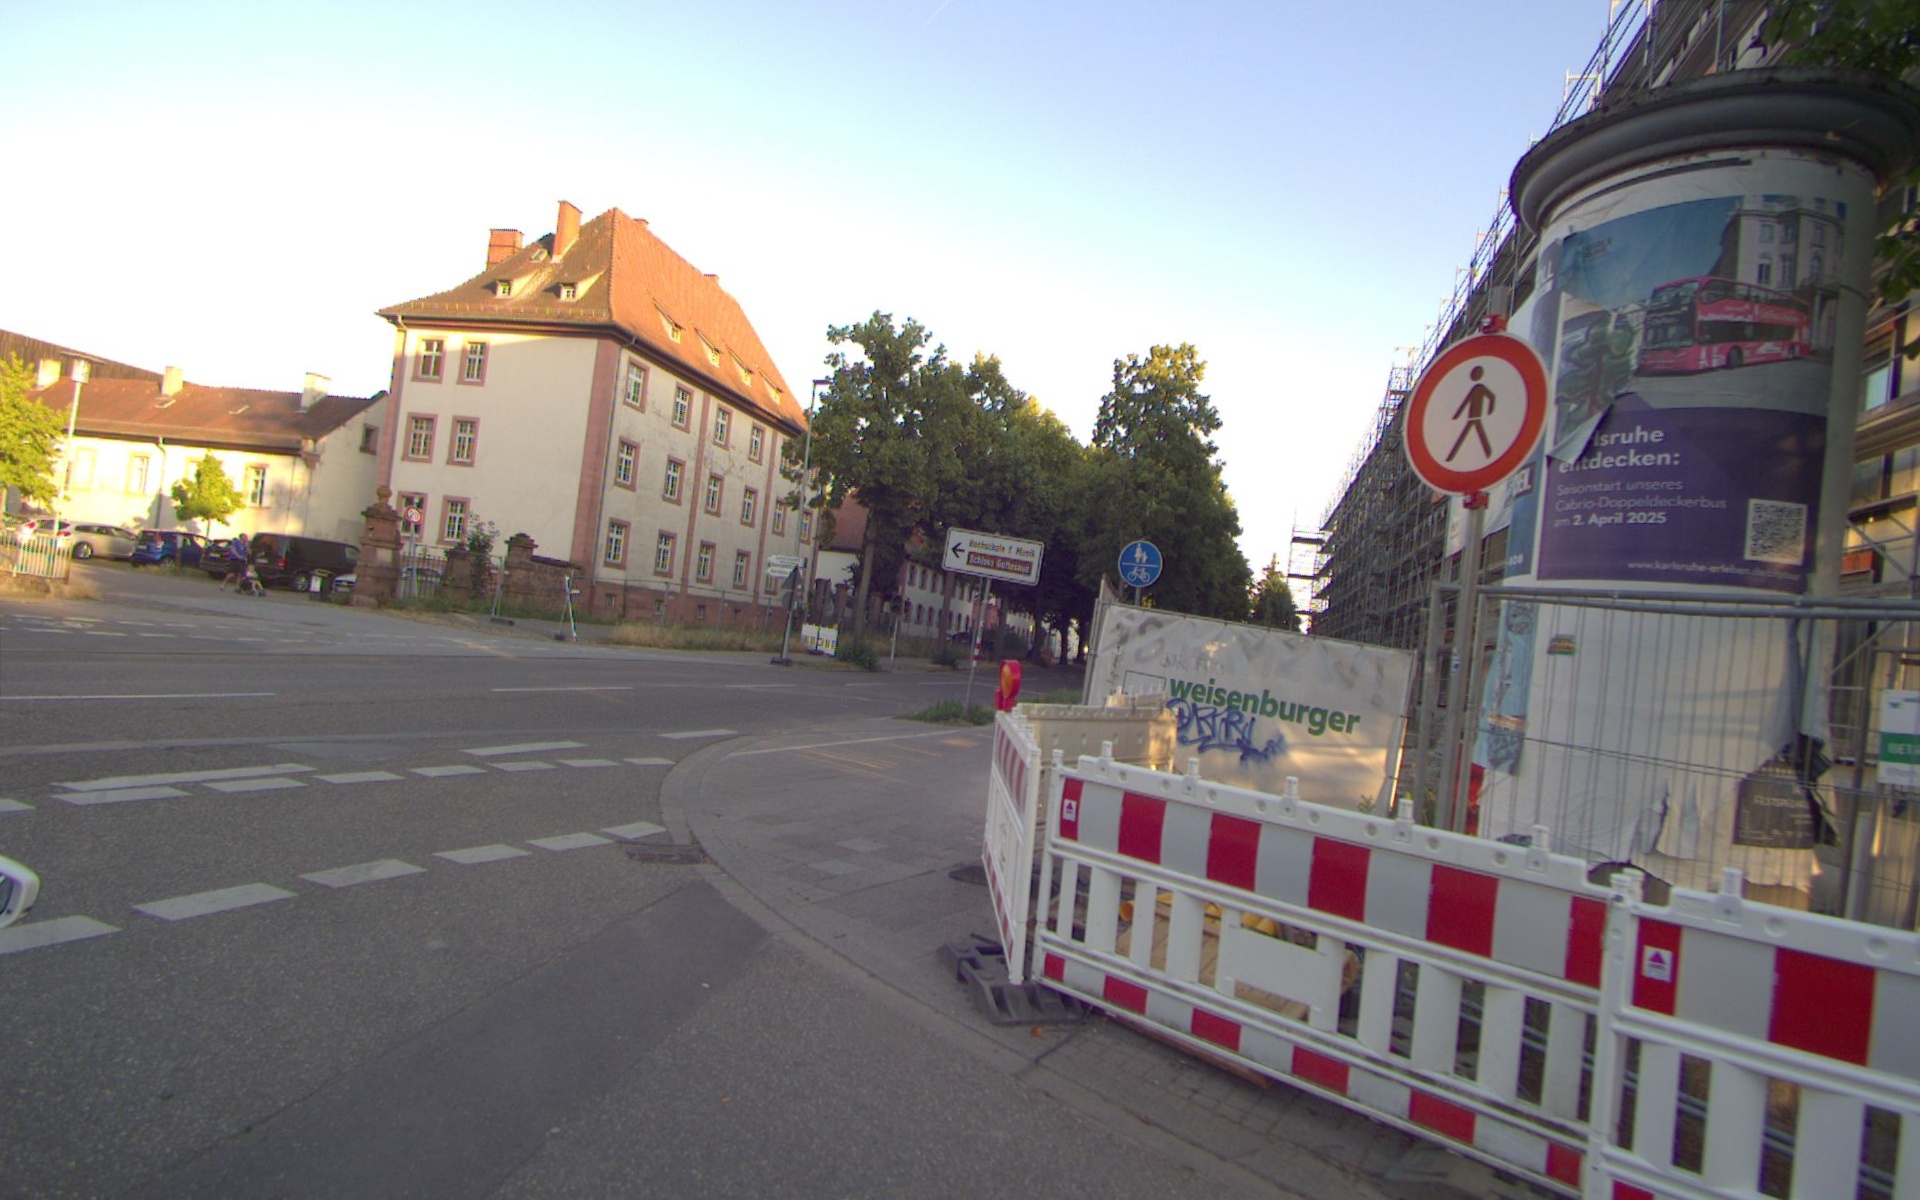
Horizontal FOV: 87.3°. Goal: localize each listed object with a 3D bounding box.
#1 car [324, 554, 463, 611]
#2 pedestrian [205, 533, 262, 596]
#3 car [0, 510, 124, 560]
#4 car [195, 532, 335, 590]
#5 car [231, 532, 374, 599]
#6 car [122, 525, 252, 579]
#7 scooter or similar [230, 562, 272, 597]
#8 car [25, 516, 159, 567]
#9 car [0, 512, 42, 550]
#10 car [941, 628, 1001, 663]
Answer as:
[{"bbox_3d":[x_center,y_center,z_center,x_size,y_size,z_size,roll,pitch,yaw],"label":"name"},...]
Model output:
[{"bbox_3d":[-19.882,-0.575,35.504,1.962,1.476,4.005,7,-2,13],"label":"car"},{"bbox_3d":[-21.137,-1.030,29.281,0.995,1.661,0.753,6,-1,17],"label":"pedestrian"},{"bbox_3d":[-37.490,-2.697,41.923,1.654,1.462,3.757,7,-2,13],"label":"car"},{"bbox_3d":[-26.476,-1.446,38.510,1.962,1.591,4.005,7,-2,13],"label":"car"},{"bbox_3d":[-24.200,-1.218,37.218,1.962,1.880,4.005,7,-2,13],"label":"car"},{"bbox_3d":[-30.579,-1.851,39.929,1.654,1.546,3.757,7,-2,13],"label":"car"},{"bbox_3d":[-20.355,-0.592,28.881,0.791,0.901,0.516,6,-1,17],"label":"scooter or similar"},{"bbox_3d":[-35.135,-2.334,40.831,1.654,1.462,3.757,7,-2,13],"label":"car"},{"bbox_3d":[-41.465,-3.115,42.354,1.654,1.462,3.757,7,-2,13],"label":"car"},{"bbox_3d":[0.830,3.343,73.663,3.923,2.037,2.002,7,-1,12],"label":"car"}]
